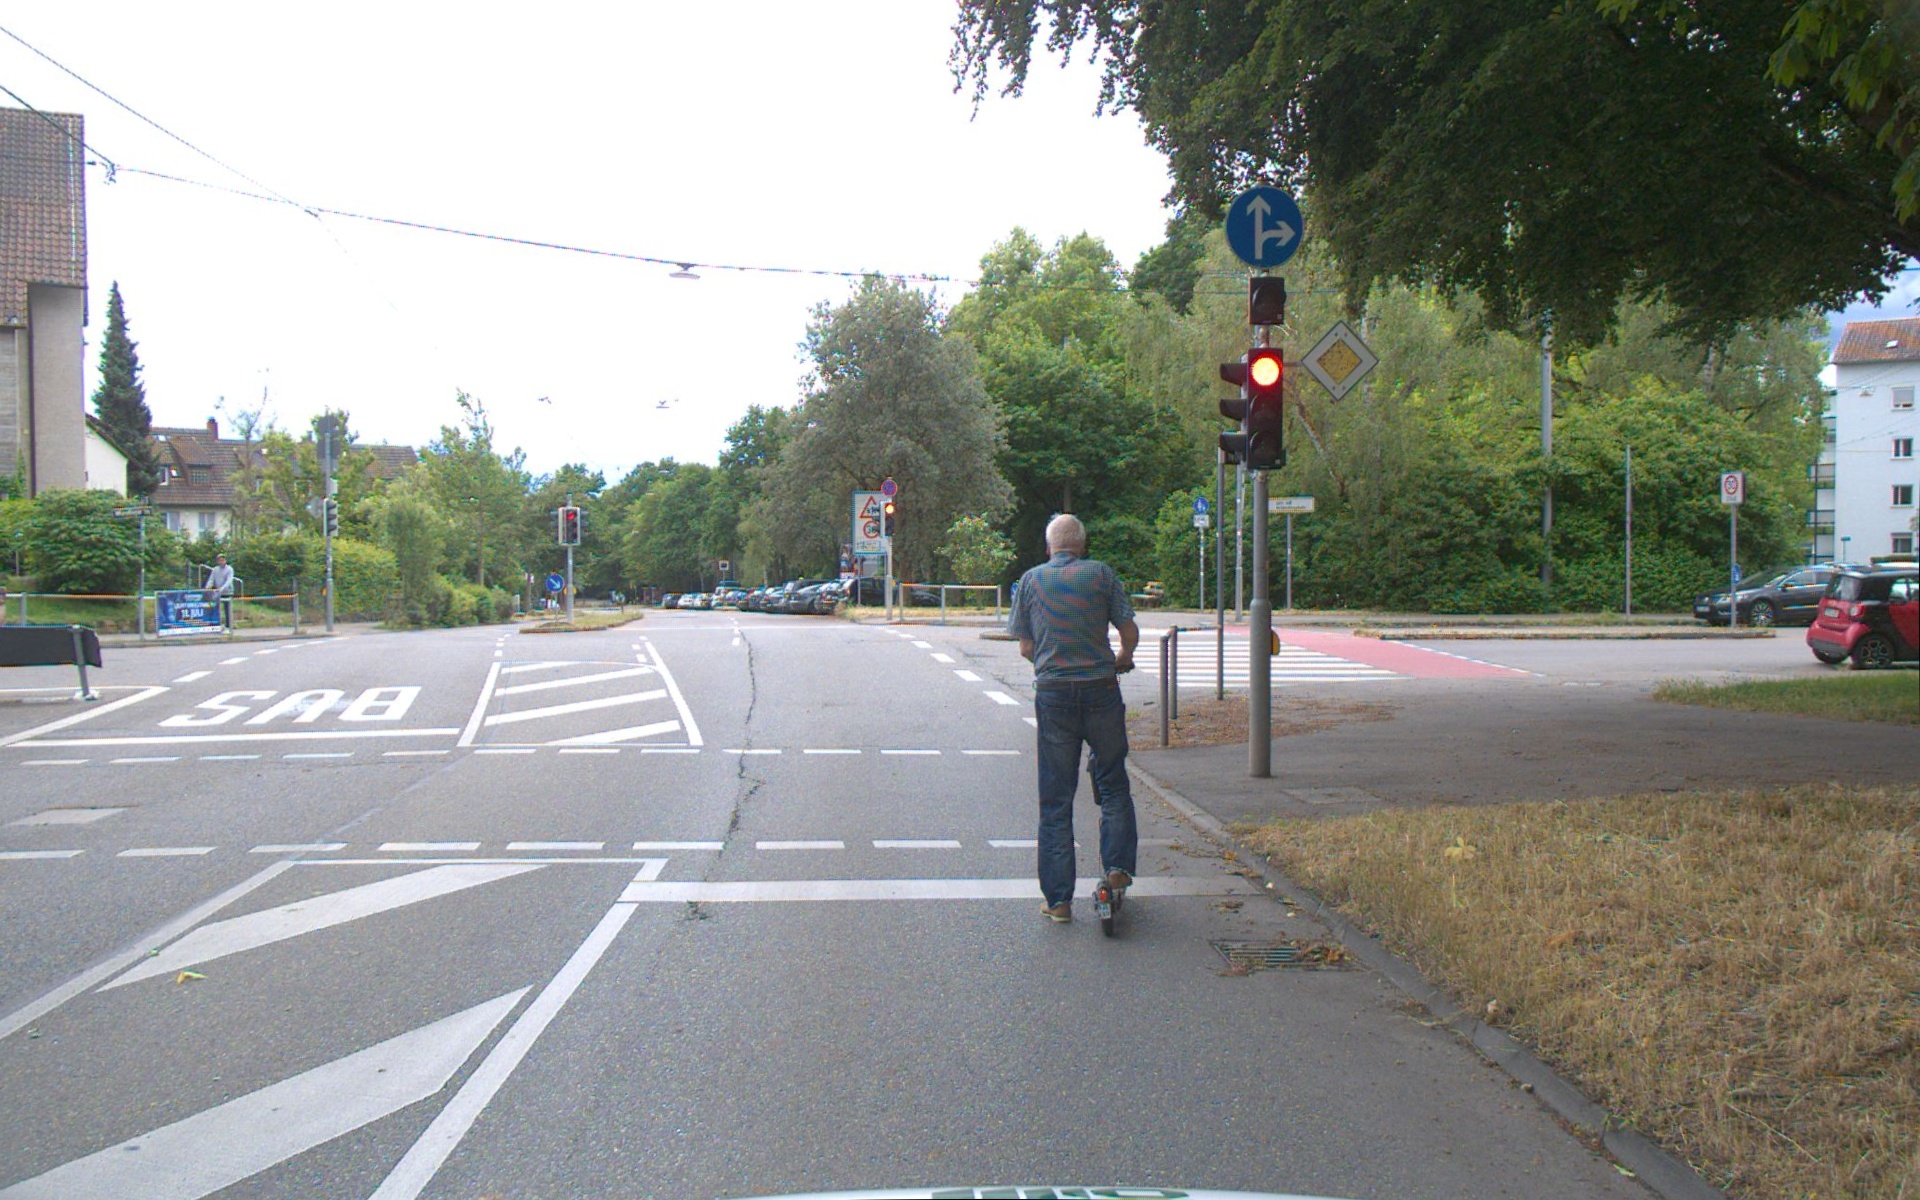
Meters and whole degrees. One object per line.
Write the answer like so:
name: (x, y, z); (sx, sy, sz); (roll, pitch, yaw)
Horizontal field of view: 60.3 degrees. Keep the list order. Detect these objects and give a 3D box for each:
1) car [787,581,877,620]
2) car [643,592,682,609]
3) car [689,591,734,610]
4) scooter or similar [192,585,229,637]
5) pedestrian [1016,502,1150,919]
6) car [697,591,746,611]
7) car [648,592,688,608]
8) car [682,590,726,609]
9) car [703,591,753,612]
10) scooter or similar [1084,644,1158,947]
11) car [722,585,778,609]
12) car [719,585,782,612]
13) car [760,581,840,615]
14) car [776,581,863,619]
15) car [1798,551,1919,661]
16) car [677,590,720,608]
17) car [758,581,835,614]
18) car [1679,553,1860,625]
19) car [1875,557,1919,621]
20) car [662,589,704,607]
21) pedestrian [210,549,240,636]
car: (-5.928, 0.004, 76.663); (3.792, 1.639, 1.715); (-2, 1, -25)
car: (-31.925, 0.062, 177.480); (3.790, 1.639, 1.716); (-2, 1, -24)
car: (-23.142, 0.001, 153.924); (3.790, 1.639, 1.716); (-2, 1, -24)
scooter or similar: (-16.217, 0.231, 35.808); (0.566, 1.100, 1.106); (-1, 1, -17)
pedestrian: (0.570, 0.489, 7.561); (0.560, 1.845, 0.421); (-1, 0, 7)
car: (-20.547, 0.079, 142.447); (3.790, 1.639, 1.716); (-2, 1, -24)
car: (-30.916, 0.003, 175.157); (3.790, 1.639, 1.716); (-2, 1, -24)
car: (-24.114, -0.070, 155.830); (3.790, 1.639, 1.716); (-2, 1, -24)
car: (-19.453, 0.112, 138.788); (3.790, 1.639, 1.716); (-2, 1, -24)
scooter or similar: (0.731, 0.820, 7.388); (0.276, 1.199, 1.178); (-1, 1, 7)
car: (-15.433, -0.231, 121.653); (3.790, 1.639, 1.716); (-2, 1, -24)
car: (-13.777, -0.093, 108.710); (3.790, 1.639, 1.716); (-2, 1, -24)
car: (-8.361, -0.133, 86.517); (3.790, 1.639, 1.716); (-2, 1, -24)
car: (-6.722, -0.015, 79.193); (3.790, 1.639, 1.716); (-2, 1, -24)
car: (15.256, 0.047, 25.830); (3.444, 1.639, 1.729); (-2, 1, 4)
car: (-25.045, -0.098, 158.387); (3.790, 1.639, 1.716); (-2, 1, -24)
car: (-8.800, -0.146, 88.922); (3.790, 1.639, 1.716); (-2, 1, -24)
car: (19.154, -0.264, 39.232); (3.444, 1.557, 1.729); (-2, 1, 5)
car: (26.405, -0.339, 45.811); (1.689, 1.639, 3.850); (-1, 1, 27)
car: (-27.684, -0.177, 165.413); (3.790, 1.639, 1.716); (-2, 1, -24)
pedestrian: (-16.334, -0.163, 36.746); (0.565, 1.895, 0.879); (-1, 1, -25)
